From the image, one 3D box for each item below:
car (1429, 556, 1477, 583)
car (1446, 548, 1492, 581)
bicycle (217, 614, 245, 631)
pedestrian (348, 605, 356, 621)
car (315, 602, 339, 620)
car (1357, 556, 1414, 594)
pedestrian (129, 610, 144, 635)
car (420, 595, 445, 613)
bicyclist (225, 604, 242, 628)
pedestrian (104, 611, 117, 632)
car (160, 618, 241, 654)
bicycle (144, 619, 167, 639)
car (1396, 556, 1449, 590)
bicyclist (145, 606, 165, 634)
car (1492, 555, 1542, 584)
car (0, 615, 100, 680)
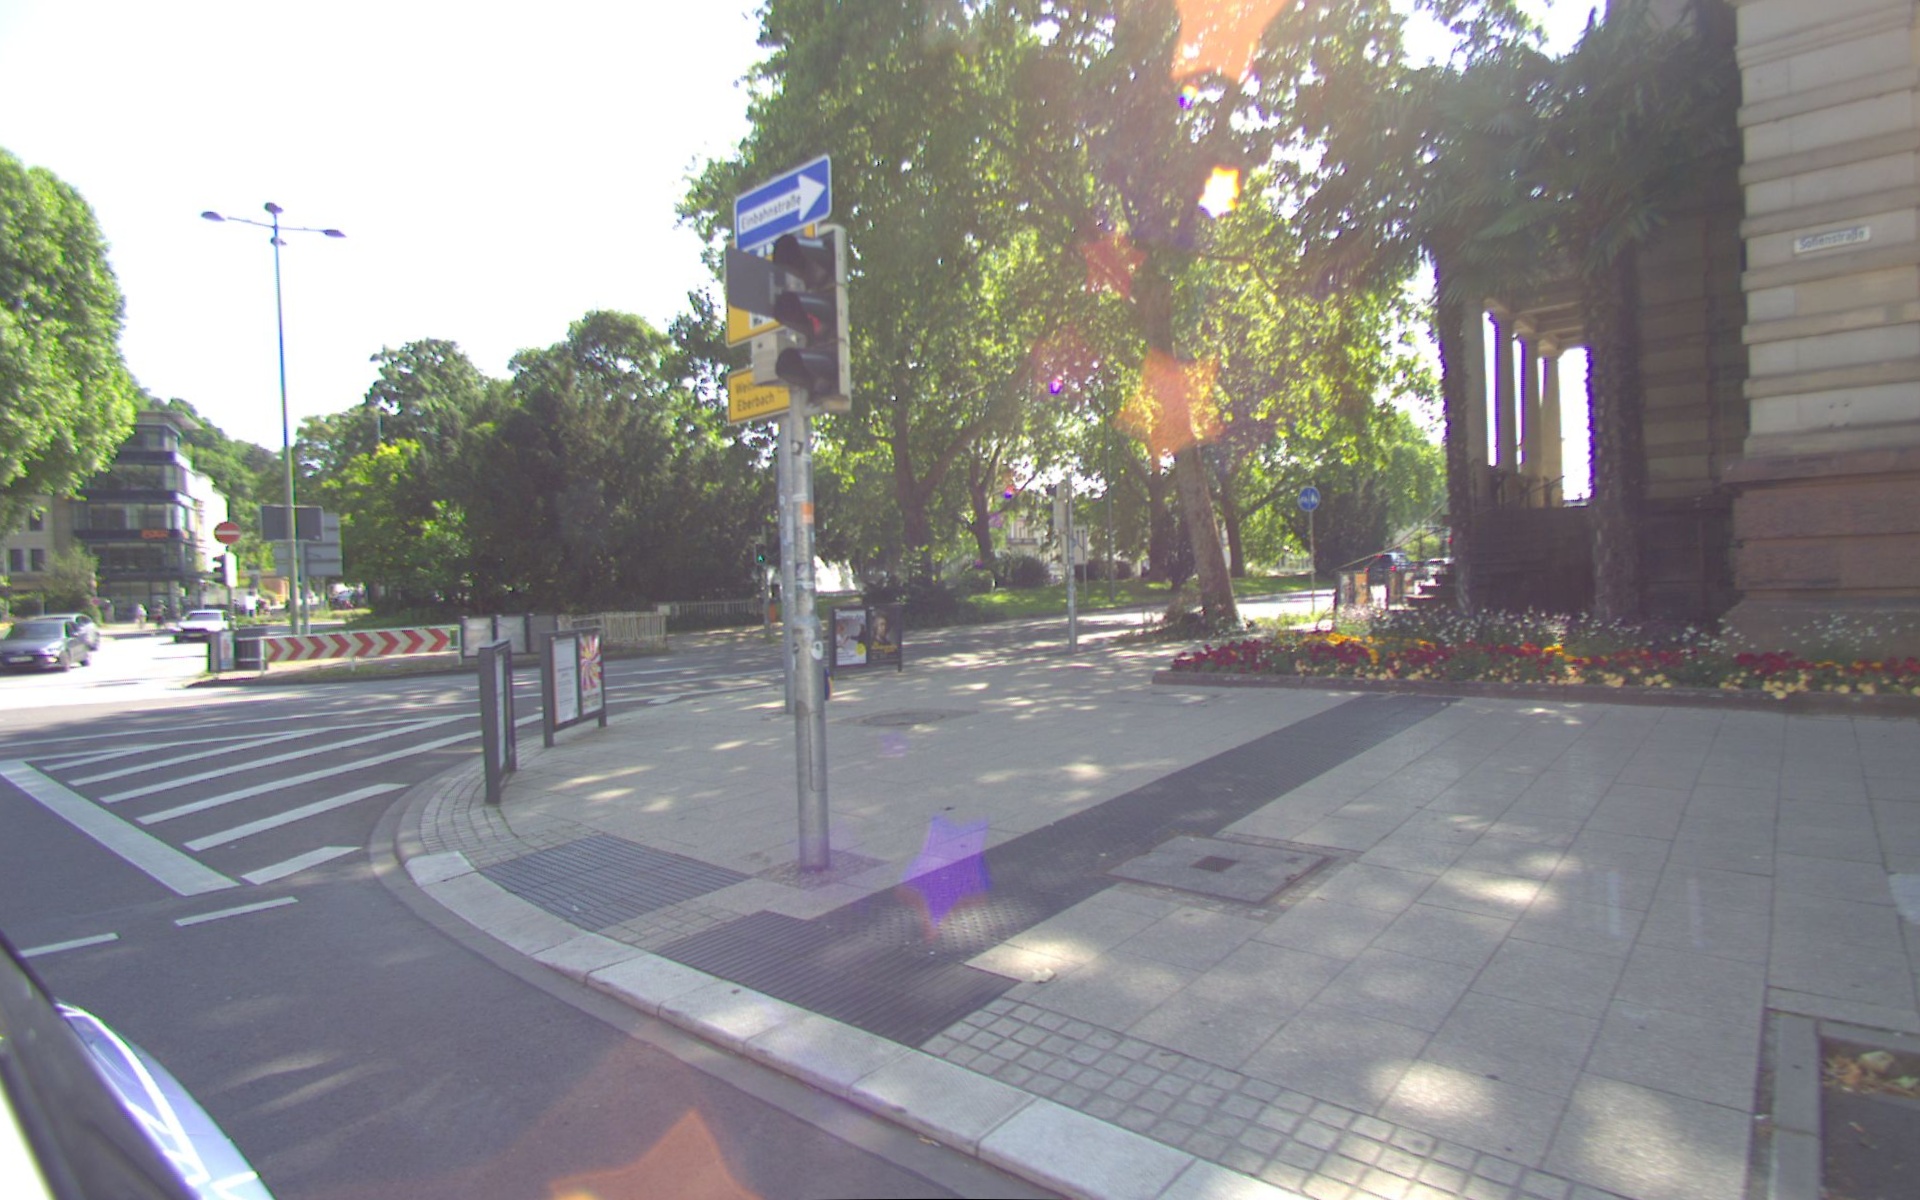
[{"bbox_3d":[35.554,-2.201,72.938,1.936,1.712,4.000,-2,1,44],"label":"car"},{"bbox_3d":[38.371,-2.694,76.246,1.936,2.351,4.000,-3,1,44],"label":"car"},{"bbox_3d":[-51.316,1.586,71.271,0.700,1.062,2.213,-2,1,-12],"label":"bicycle"},{"bbox_3d":[-65.674,1.381,109.284,0.592,1.717,0.606,-2,1,-22],"label":"pedestrian"},{"bbox_3d":[-65.972,1.159,105.493,1.820,1.801,4.012,-2,1,-29],"label":"car"},{"bbox_3d":[26.759,-1.587,63.539,1.936,2.184,4.000,-3,0,44],"label":"car"},{"bbox_3d":[-57.575,1.576,70.758,0.699,1.685,0.536,-2,1,-32],"label":"pedestrian"},{"bbox_3d":[-53.041,0.403,101.722,1.821,1.674,4.012,-2,1,-32],"label":"car"},{"bbox_3d":[-51.229,1.117,71.354,0.700,1.625,0.734,-2,1,-12],"label":"bicyclist"},{"bbox_3d":[-69.363,1.766,82.604,0.690,1.718,0.604,-2,0,-31],"label":"pedestrian"},{"bbox_3d":[-34.915,1.604,46.660,1.909,1.440,4.564,-2,1,-23],"label":"car"},{"bbox_3d":[-48.293,1.719,60.764,0.747,1.129,2.008,-1,1,-30],"label":"bicycle"},{"bbox_3d":[30.965,-1.835,67.747,1.936,2.096,4.000,-3,0,44],"label":"car"},{"bbox_3d":[-48.261,1.188,60.682,0.753,1.648,0.946,-2,1,-29],"label":"bicyclist"},{"bbox_3d":[36.513,-2.012,66.248,1.851,1.748,4.000,-3,0,44],"label":"car"},{"bbox_3d":[-26.243,1.300,28.801,1.858,1.696,4.155,0,-1,-28],"label":"car"}]
